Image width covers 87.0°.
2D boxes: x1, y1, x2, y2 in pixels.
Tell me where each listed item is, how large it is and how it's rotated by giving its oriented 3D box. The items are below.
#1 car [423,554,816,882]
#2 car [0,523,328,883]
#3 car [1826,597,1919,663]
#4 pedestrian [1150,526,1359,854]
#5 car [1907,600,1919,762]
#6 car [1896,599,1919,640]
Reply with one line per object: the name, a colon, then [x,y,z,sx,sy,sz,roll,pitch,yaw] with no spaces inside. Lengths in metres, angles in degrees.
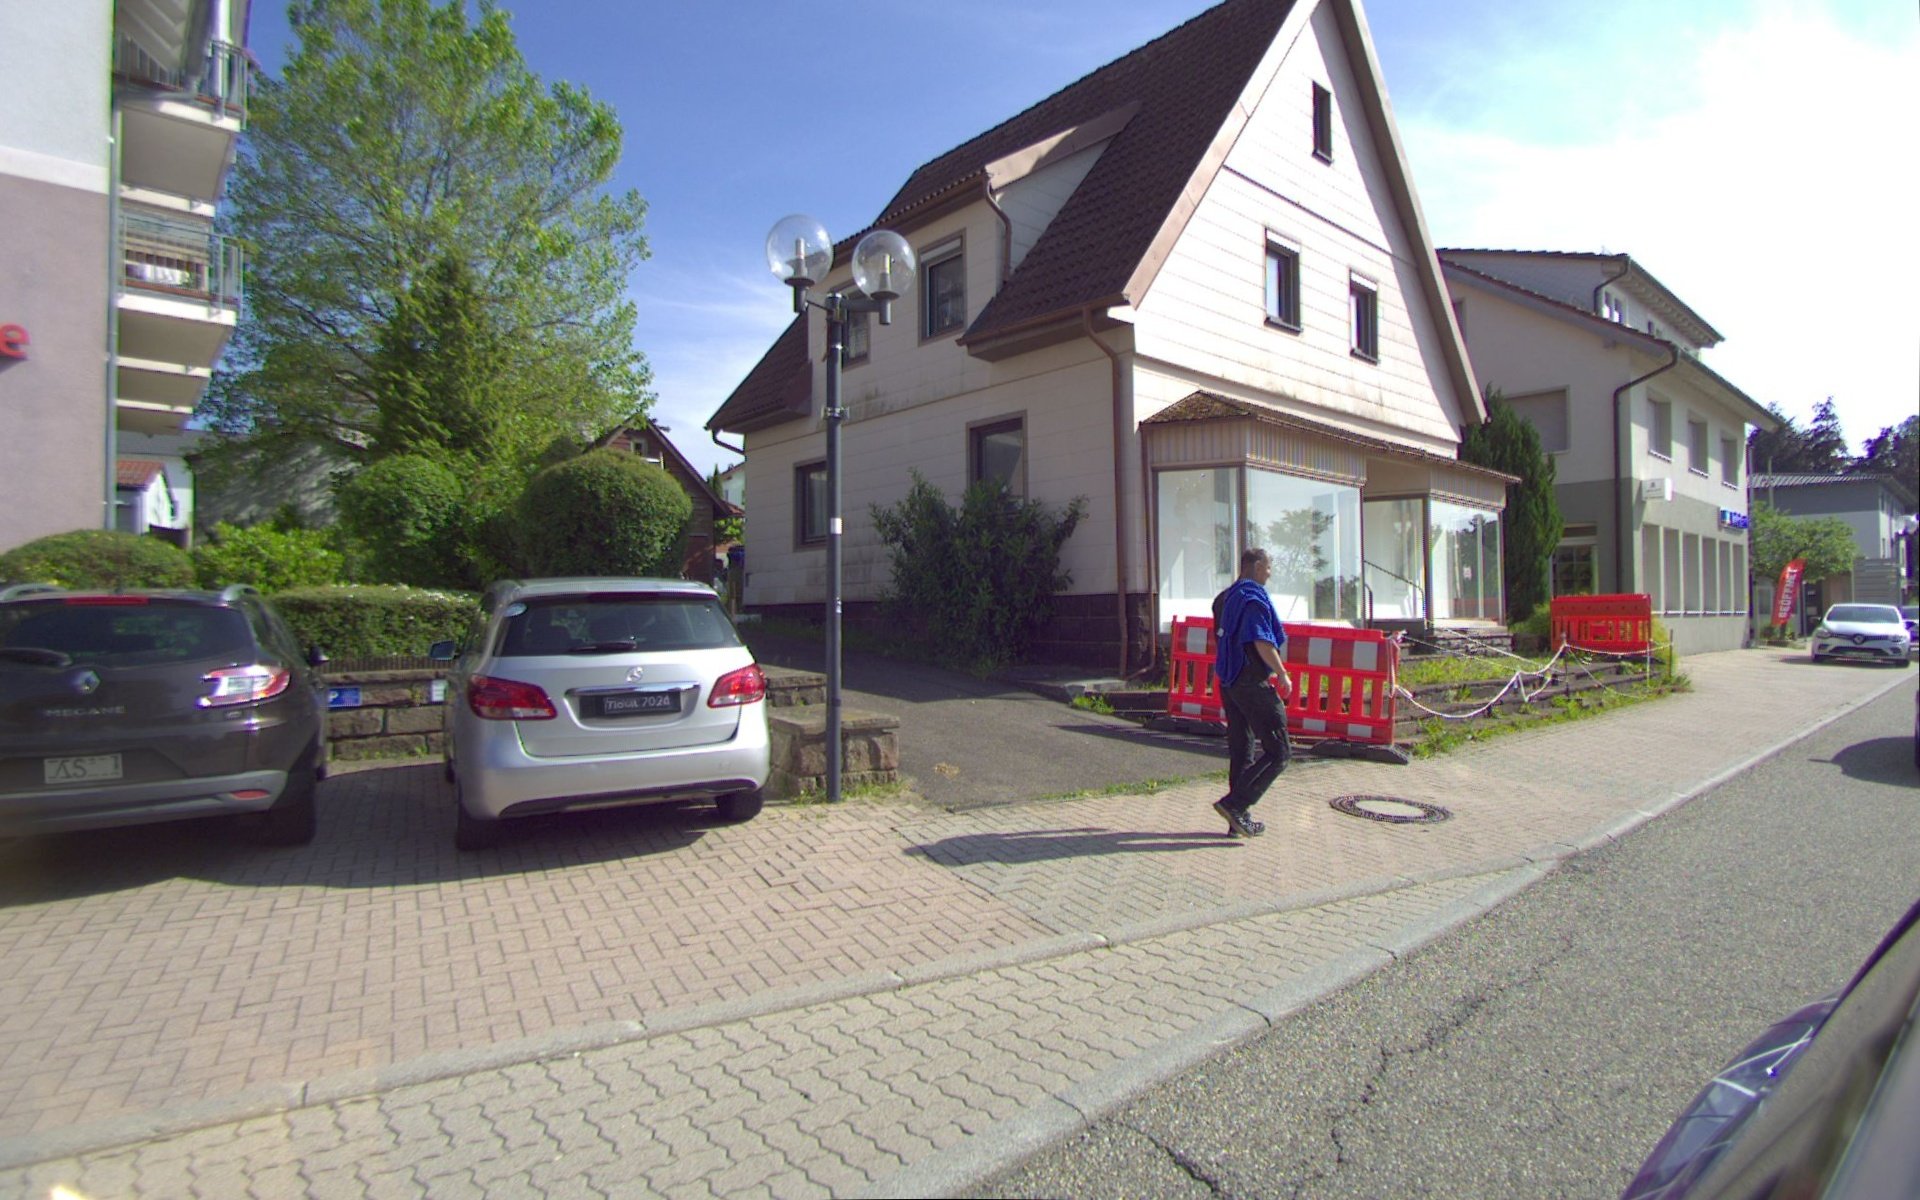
car: [-2.607,0.577,7.047,1.923,1.578,3.879,1,0,-29]
car: [-4.979,0.495,6.282,1.703,1.569,4.002,1,-2,-31]
car: [21.963,0.667,24.305,1.635,1.437,3.874,1,1,43]
pedestrian: [1.793,0.490,6.177,0.961,1.807,0.801,1,0,-37]
car: [10.422,0.718,9.590,4.504,1.385,1.836,0,1,-43]
car: [35.441,0.723,36.692,3.569,1.441,1.764,0,1,-40]
